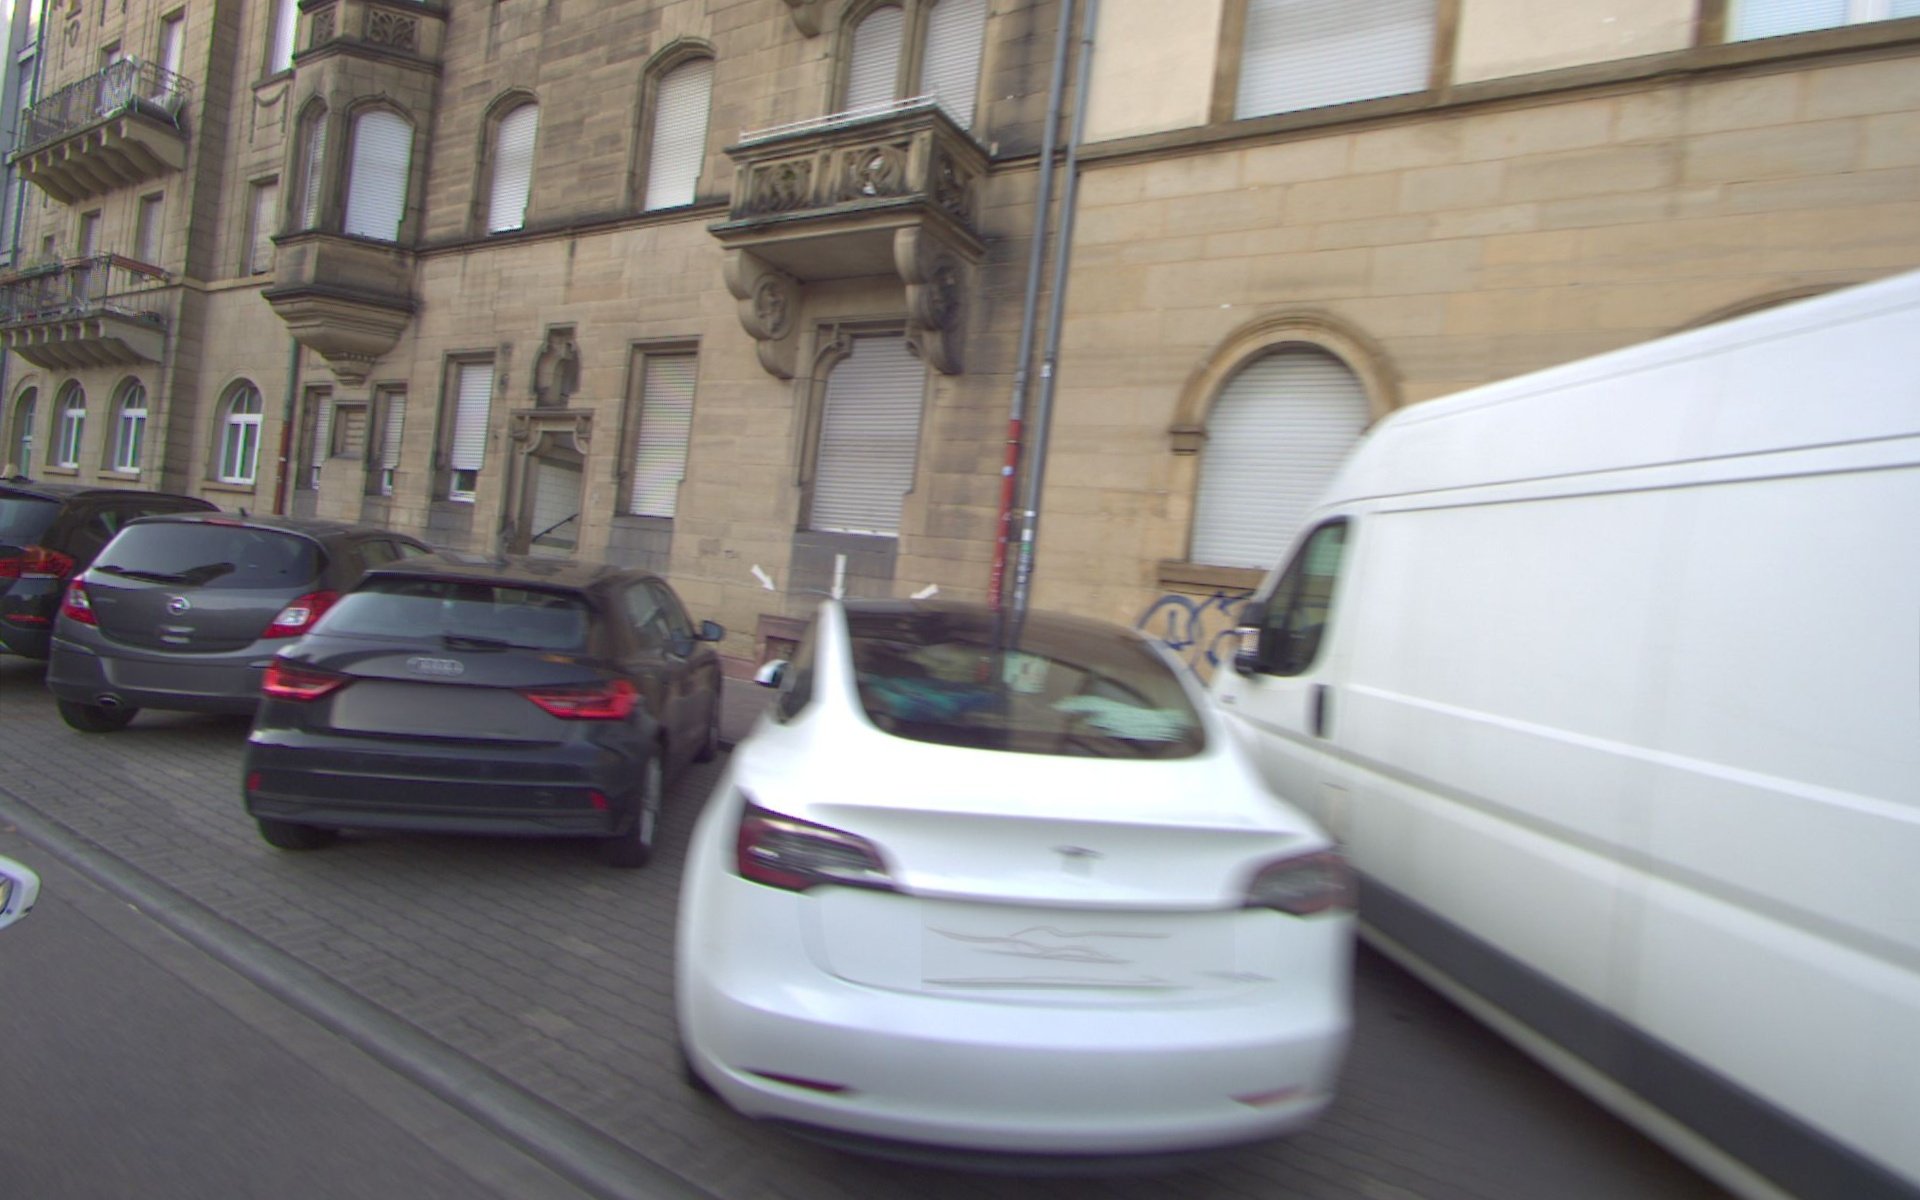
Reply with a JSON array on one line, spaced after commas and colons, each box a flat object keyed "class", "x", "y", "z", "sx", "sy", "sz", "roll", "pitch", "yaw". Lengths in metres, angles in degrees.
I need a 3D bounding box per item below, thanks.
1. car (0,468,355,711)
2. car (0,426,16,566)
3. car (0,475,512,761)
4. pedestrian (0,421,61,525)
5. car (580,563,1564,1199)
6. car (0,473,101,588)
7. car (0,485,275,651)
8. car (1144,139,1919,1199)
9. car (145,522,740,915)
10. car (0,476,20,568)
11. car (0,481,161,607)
[{"class": "car", "x": -7.326, "y": -0.196, "z": 8.803, "sx": 1.784, "sy": 1.628, "sz": 4.093, "roll": 6, "pitch": 1, "yaw": -5}, {"class": "car", "x": -18.923, "y": -2.097, "z": 16.578, "sx": 1.882, "sy": 2.577, "sz": 4.728, "roll": 6, "pitch": -1, "yaw": 3}, {"class": "car", "x": -5.025, "y": 0.076, "z": 7.883, "sx": 1.687, "sy": 1.565, "sz": 3.908, "roll": 5, "pitch": 1, "yaw": -9}, {"class": "pedestrian", "x": -19.666, "y": -2.663, "z": 20.950, "sx": 0.844, "sy": 2.023, "sz": 0.612, "roll": 8, "pitch": -13, "yaw": 34}, {"class": "car", "x": 0.051, "y": 0.730, "z": 4.206, "sx": 1.964, "sy": 1.472, "sz": 4.249, "roll": 6, "pitch": 0, "yaw": -6}, {"class": "car", "x": -14.346, "y": -1.061, "z": 13.556, "sx": 1.761, "sy": 1.565, "sz": 4.122, "roll": 5, "pitch": 0, "yaw": 4}, {"class": "car", "x": -9.690, "y": -0.413, "z": 10.960, "sx": 1.722, "sy": 1.518, "sz": 4.053, "roll": 6, "pitch": 1, "yaw": -3}, {"class": "car", "x": 2.694, "y": 0.450, "z": 3.274, "sx": 2.158, "sy": 2.584, "sz": 5.874, "roll": 5, "pitch": 1, "yaw": -8}, {"class": "car", "x": -2.475, "y": 0.454, "z": 5.982, "sx": 1.842, "sy": 1.465, "sz": 3.909, "roll": 5, "pitch": 1, "yaw": -7}, {"class": "car", "x": -16.778, "y": -1.347, "z": 14.697, "sx": 1.809, "sy": 1.506, "sz": 4.396, "roll": 6, "pitch": 1, "yaw": 2}, {"class": "car", "x": -11.990, "y": -0.736, "z": 11.911, "sx": 1.834, "sy": 1.450, "sz": 4.030, "roll": 6, "pitch": 1, "yaw": -2}]
